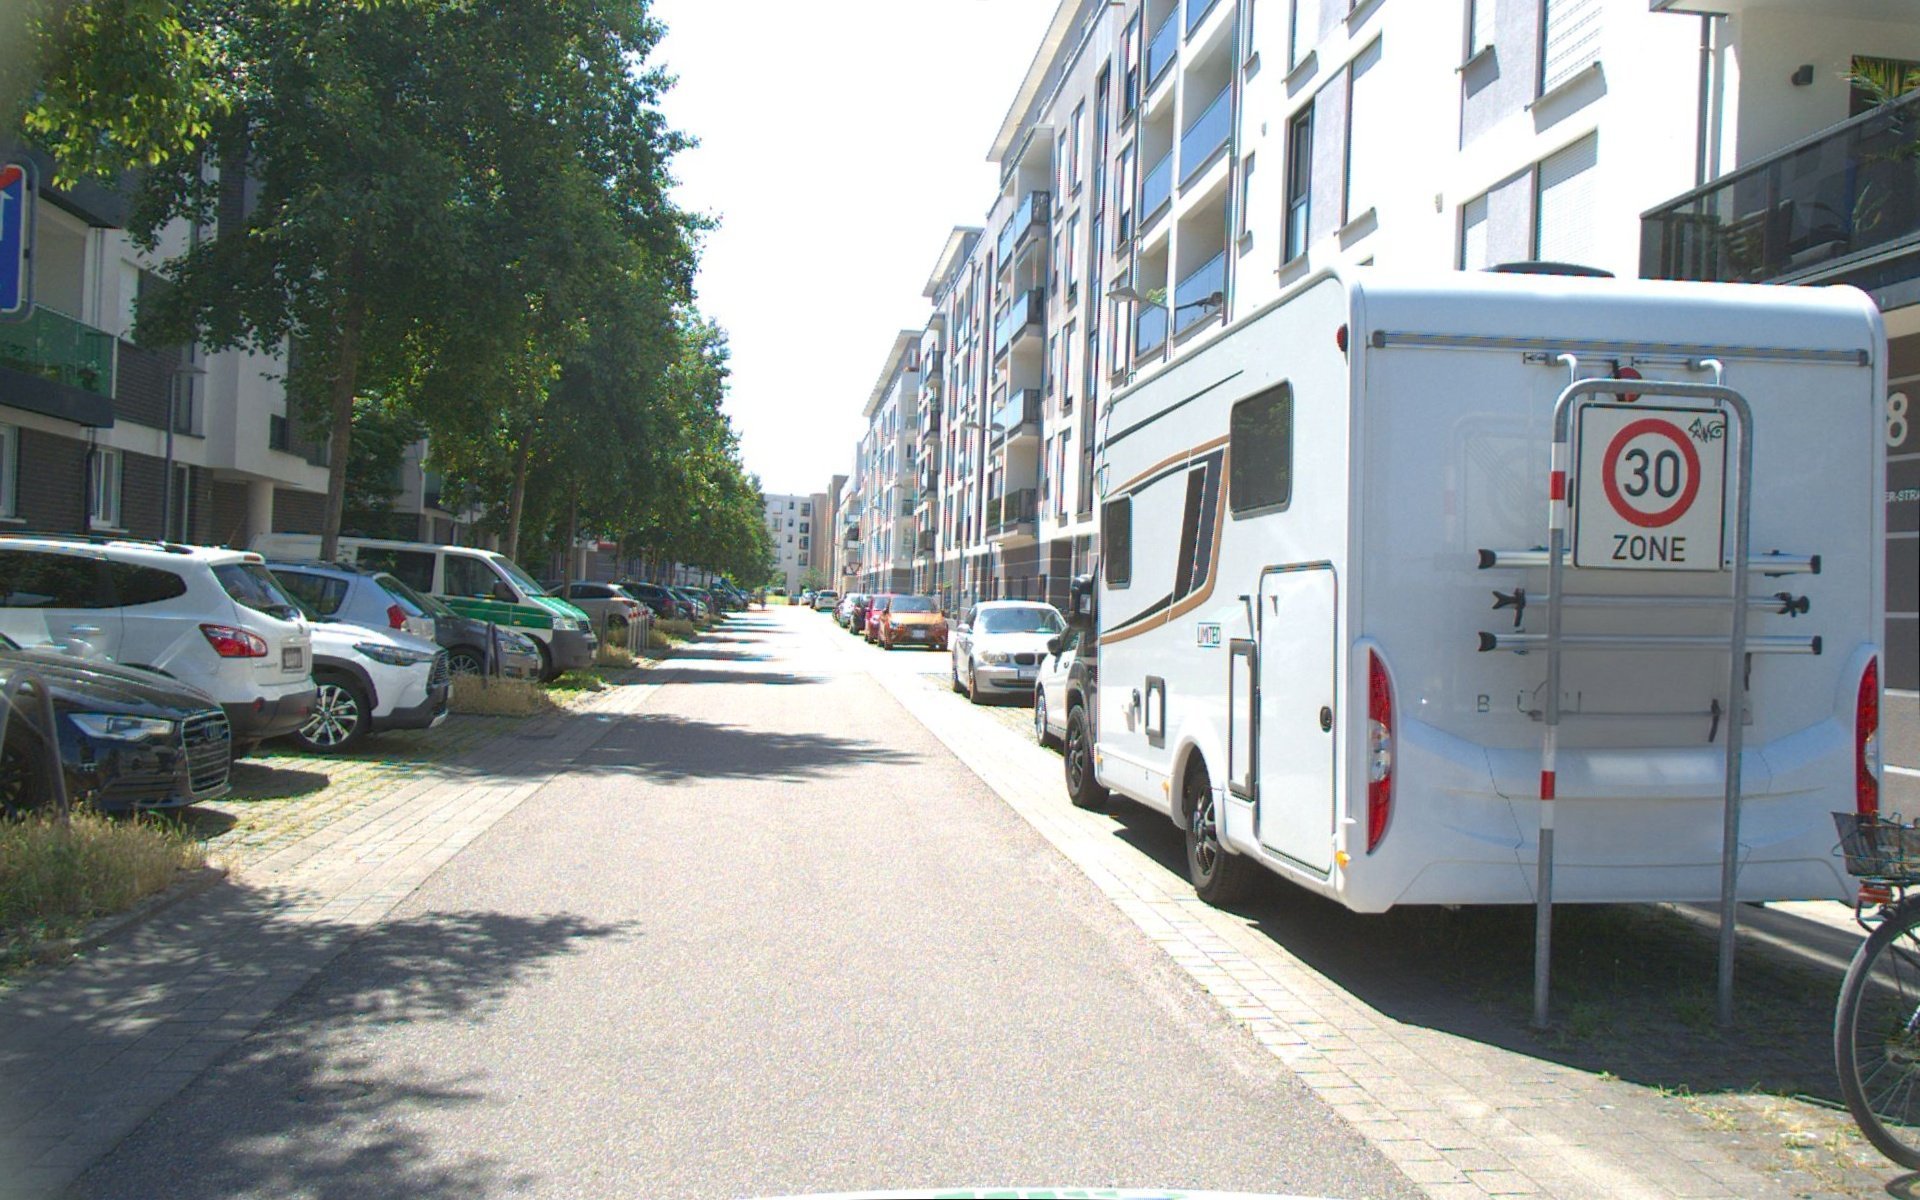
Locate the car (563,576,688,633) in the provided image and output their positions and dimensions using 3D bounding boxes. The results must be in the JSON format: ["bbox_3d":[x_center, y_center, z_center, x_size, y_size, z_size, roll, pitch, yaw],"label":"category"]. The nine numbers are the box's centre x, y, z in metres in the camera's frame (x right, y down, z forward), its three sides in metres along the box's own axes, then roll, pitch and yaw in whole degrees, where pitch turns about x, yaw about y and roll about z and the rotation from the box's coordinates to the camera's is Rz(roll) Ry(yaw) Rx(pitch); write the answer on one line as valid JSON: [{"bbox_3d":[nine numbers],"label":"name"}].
[{"bbox_3d":[-11.366,0.151,56.359,3.911,1.658,1.930,3,0,-7],"label":"car"}]

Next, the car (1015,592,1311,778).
[{"bbox_3d":[1.777,0.696,15.892,1.773,1.531,4.253,0,0,-8],"label":"car"}]

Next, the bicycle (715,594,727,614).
[{"bbox_3d":[-15.852,0.274,109.706,0.560,1.194,1.763,5,1,-13],"label":"bicycle"}]

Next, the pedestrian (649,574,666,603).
[{"bbox_3d":[-21.375,-0.820,116.901,0.989,2.049,1.128,1,0,-3],"label":"pedestrian"}]

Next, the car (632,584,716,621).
[{"bbox_3d":[-13.969,0.121,80.956,3.863,1.580,1.869,3,0,-7],"label":"car"}]

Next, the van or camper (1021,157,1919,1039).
[{"bbox_3d":[2.222,0.052,9.622,2.393,2.957,7.814,3,-1,-7],"label":"van or camper"}]

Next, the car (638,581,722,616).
[{"bbox_3d":[-14.172,-0.065,83.849,4.104,1.512,1.954,3,-1,-10],"label":"car"}]

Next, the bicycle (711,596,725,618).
[{"bbox_3d":[-13.358,0.389,91.382,0.427,1.147,1.969,1,0,-18],"label":"bicycle"}]

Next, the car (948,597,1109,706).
[{"bbox_3d":[0.928,0.710,24.856,1.810,1.441,4.421,2,0,-5],"label":"car"}]

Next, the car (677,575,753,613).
[{"bbox_3d":[-19.536,-0.467,132.143,5.908,2.865,2.601,1,0,-6],"label":"car"}]

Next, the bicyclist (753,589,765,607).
[{"bbox_3d":[-16.340,-0.168,134.485,0.935,1.485,0.798,2,0,-7],"label":"bicyclist"}]

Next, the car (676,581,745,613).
[{"bbox_3d":[-19.098,-0.241,126.734,5.047,2.156,2.308,3,0,-7],"label":"car"}]

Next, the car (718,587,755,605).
[{"bbox_3d":[-25.714,-0.461,190.582,3.905,2.049,2.000,2,0,0],"label":"car"}]

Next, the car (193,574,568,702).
[{"bbox_3d":[-7.539,0.487,21.956,4.338,1.516,1.996,2,0,-8],"label":"car"}]

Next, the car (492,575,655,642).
[{"bbox_3d":[-10.795,0.245,46.455,4.172,1.544,1.922,4,0,-7],"label":"car"}]

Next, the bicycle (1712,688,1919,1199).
[{"bbox_3d":[3.172,0.898,4.698,1.889,1.244,0.821,0,1,-23],"label":"bicycle"}]

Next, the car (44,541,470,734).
[{"bbox_3d":[-7.194,0.380,17.274,3.610,1.705,1.849,3,0,-7],"label":"car"}]

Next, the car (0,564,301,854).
[{"bbox_3d":[-6.606,0.477,9.585,4.757,1.482,1.827,4,0,-6],"label":"car"}]

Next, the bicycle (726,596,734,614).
[{"bbox_3d":[-15.300,0.345,109.989,0.457,1.161,1.923,2,0,-8],"label":"bicycle"}]

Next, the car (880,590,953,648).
[{"bbox_3d":[-1.242,0.488,45.889,1.704,1.513,4.253,0,0,-6],"label":"car"}]

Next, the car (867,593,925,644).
[{"bbox_3d":[-2.026,0.533,51.363,1.564,1.511,3.671,0,0,-6],"label":"car"}]

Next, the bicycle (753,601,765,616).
[{"bbox_3d":[-16.363,0.668,134.553,0.881,1.149,2.037,2,0,-7],"label":"bicycle"}]

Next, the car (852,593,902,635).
[{"bbox_3d":[-3.092,0.506,61.061,1.611,1.488,4.112,0,0,-7],"label":"car"}]

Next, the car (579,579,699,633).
[{"bbox_3d":[-11.390,0.214,58.895,3.909,1.679,1.916,3,0,-5],"label":"car"}]

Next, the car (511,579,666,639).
[{"bbox_3d":[-10.930,0.264,48.899,4.234,1.501,1.790,3,0,-7],"label":"car"}]

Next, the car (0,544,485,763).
[{"bbox_3d":[-6.676,0.435,14.681,4.477,1.621,1.961,4,0,-12],"label":"car"}]

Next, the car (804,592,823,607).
[{"bbox_3d":[-17.372,-0.059,195.947,1.956,1.704,3.994,2,0,-7],"label":"car"}]

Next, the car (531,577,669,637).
[{"bbox_3d":[-11.143,0.214,51.449,3.910,1.619,1.881,3,0,-6],"label":"car"}]

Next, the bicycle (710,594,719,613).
[{"bbox_3d":[-16.274,0.230,109.665,0.426,1.225,1.698,3,1,-5],"label":"bicycle"}]

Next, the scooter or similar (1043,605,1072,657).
[{"bbox_3d":[2.461,0.766,41.487,0.534,1.247,1.530,3,0,8],"label":"scooter or similar"}]

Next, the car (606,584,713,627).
[{"bbox_3d":[-12.395,0.219,68.490,4.279,1.740,1.996,0,0,-9],"label":"car"}]

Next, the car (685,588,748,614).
[{"bbox_3d":[-17.608,0.059,119.680,4.299,1.541,2.072,4,0,-6],"label":"car"}]

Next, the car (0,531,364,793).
[{"bbox_3d":[-6.667,0.359,12.037,3.902,1.657,1.948,4,0,-4],"label":"car"}]

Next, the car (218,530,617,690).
[{"bbox_3d":[-7.966,0.154,24.764,5.237,2.147,2.185,2,0,-5],"label":"car"}]

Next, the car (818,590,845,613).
[{"bbox_3d":[-9.931,0.101,127.778,1.958,1.686,4.110,1,0,-6],"label":"car"}]

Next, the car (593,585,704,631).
[{"bbox_3d":[-11.562,0.311,61.533,3.902,1.470,1.771,3,-1,-10],"label":"car"}]

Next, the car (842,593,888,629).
[{"bbox_3d":[-4.179,0.464,72.385,1.799,1.531,4.345,0,0,-6],"label":"car"}]
